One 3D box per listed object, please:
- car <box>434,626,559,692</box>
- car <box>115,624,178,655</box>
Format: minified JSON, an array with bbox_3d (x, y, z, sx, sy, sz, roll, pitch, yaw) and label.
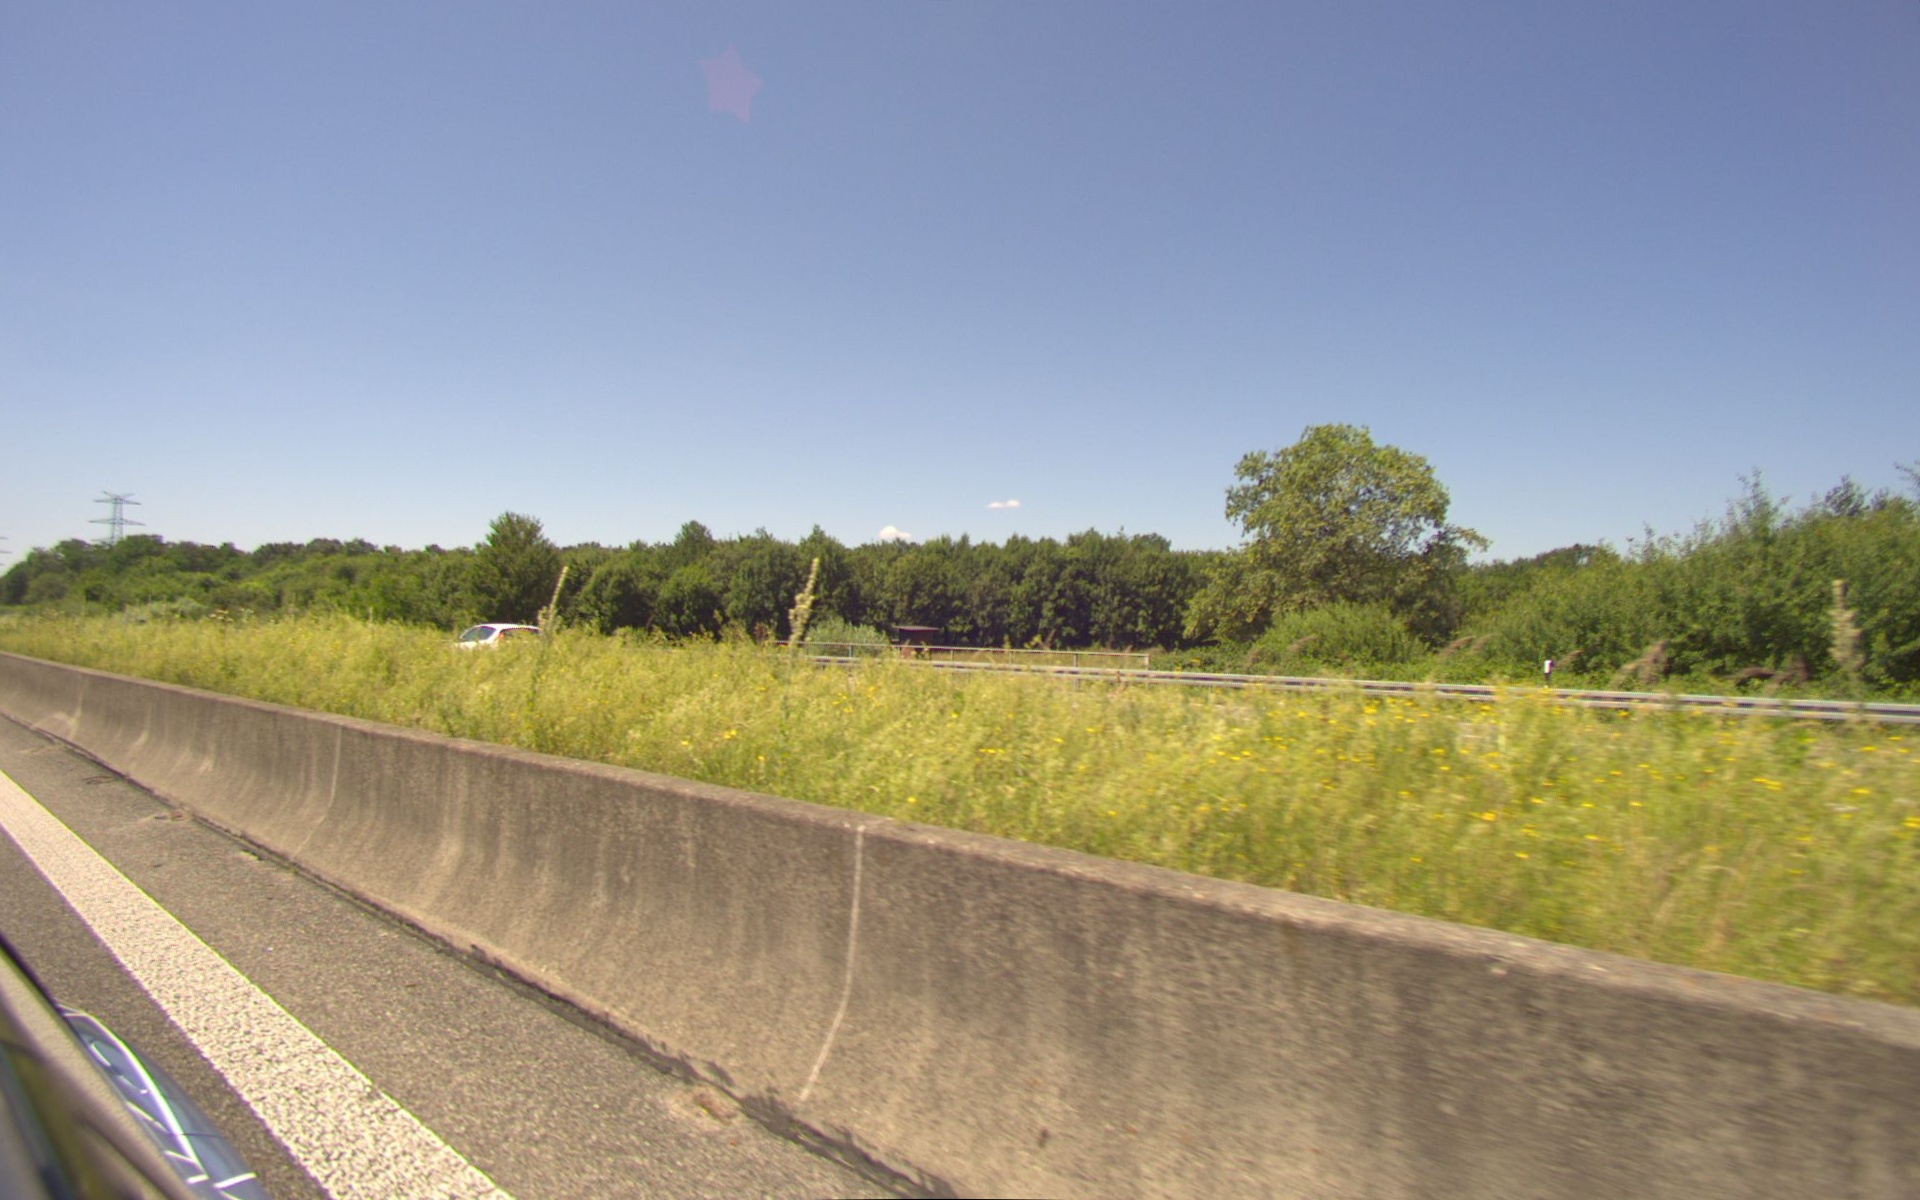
[{"bbox_3d":[-12.807,1.567,27.868,3.998,1.657,1.631,-1,-2,41],"label":"car"},{"bbox_3d":[-48.035,2.287,59.735,4.483,1.761,1.913,-1,-3,38],"label":"car"}]
